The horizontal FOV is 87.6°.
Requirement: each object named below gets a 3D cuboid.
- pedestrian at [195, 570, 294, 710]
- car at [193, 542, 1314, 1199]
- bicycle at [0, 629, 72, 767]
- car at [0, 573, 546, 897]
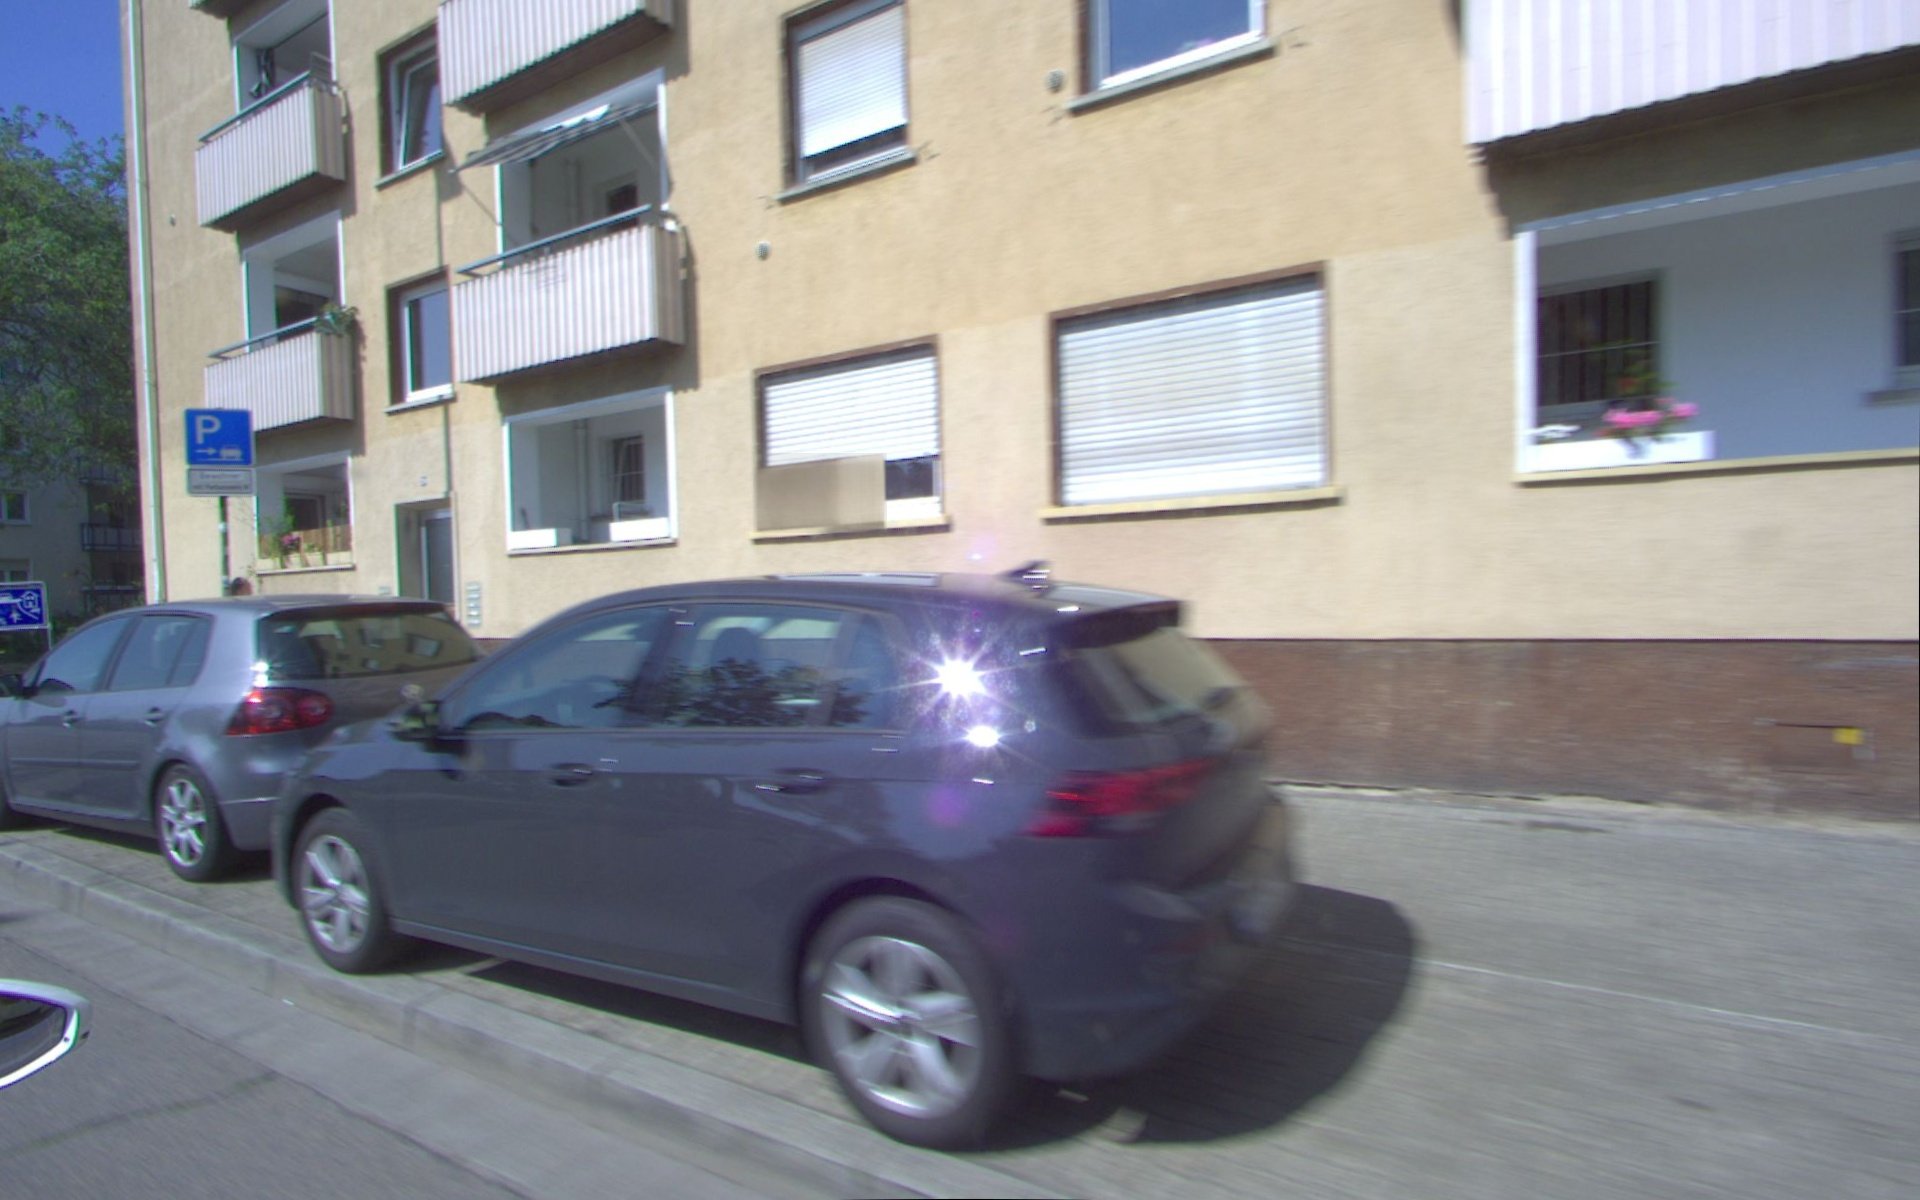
[{"bbox_3d":[-8.716,0.465,12.209,0.812,1.631,0.653,0,4,33],"label":"pedestrian"},{"bbox_3d":[-0.959,0.621,3.902,4.191,1.481,1.708,0,1,30],"label":"car"},{"bbox_3d":[-8.813,0.844,8.944,1.717,1.139,0.702,0,2,27],"label":"bicycle"},{"bbox_3d":[-4.790,0.633,6.481,4.028,1.535,1.701,0,2,28],"label":"car"}]
